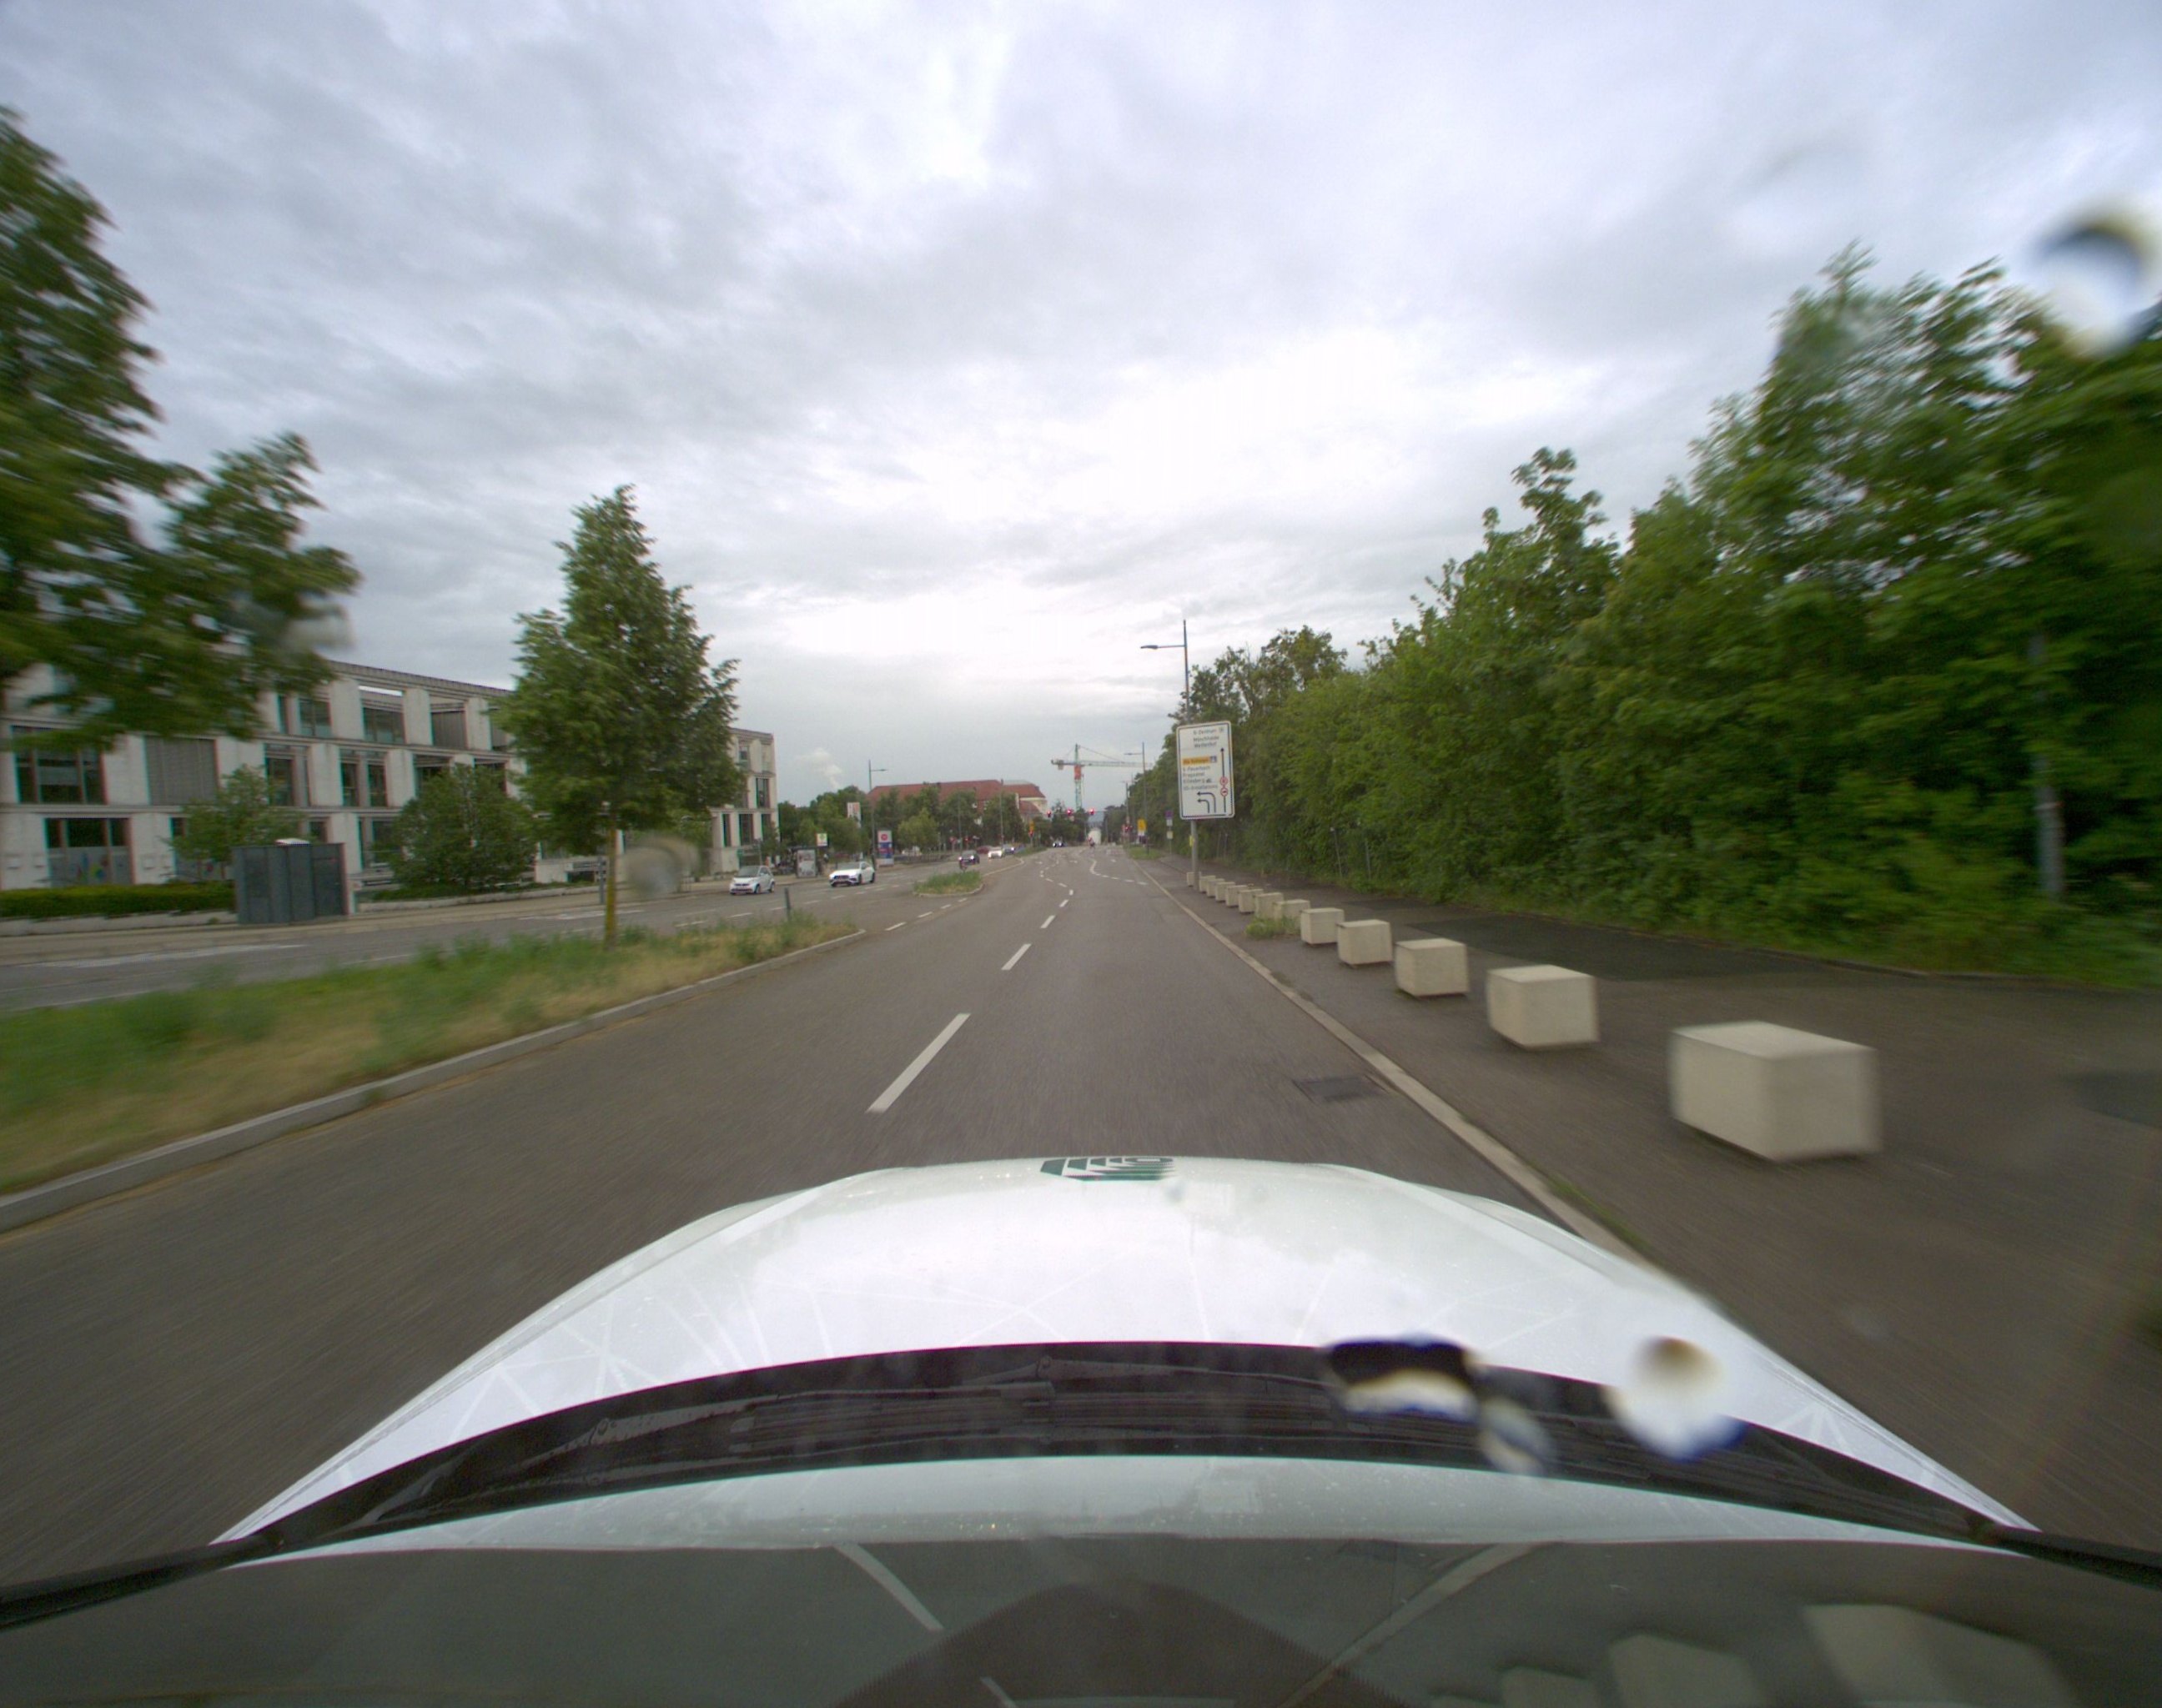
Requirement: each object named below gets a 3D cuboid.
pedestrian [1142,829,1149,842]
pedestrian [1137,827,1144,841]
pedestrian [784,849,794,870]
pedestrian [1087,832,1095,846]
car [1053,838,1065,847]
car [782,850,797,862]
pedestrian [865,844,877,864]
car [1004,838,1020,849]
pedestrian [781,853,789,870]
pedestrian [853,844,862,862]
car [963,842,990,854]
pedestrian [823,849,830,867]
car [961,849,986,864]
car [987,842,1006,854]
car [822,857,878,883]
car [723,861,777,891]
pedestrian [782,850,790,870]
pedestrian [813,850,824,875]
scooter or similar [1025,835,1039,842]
[{"bbox_3d":[8.401,-2.466,106.168,0.674,1.657,0.792,-3,1,-4],"label":"pedestrian"},{"bbox_3d":[8.059,-2.668,110.361,0.639,1.900,0.717,-3,1,-4],"label":"pedestrian"},{"bbox_3d":[-25.001,0.463,69.775,0.522,1.725,0.567,-2,1,4],"label":"pedestrian"},{"bbox_3d":[1.445,-2.261,123.498,0.935,2.013,0.849,-5,1,7],"label":"pedestrian"},{"bbox_3d":[-4.843,-2.499,178.951,1.981,1.838,4.011,-1,0,10],"label":"car"},{"bbox_3d":[-47.965,0.320,134.106,1.783,1.731,3.966,-3,1,-26],"label":"car"},{"bbox_3d":[-19.701,0.014,76.457,0.750,1.842,0.747,-2,1,4],"label":"pedestrian"},{"bbox_3d":[-10.625,-1.648,125.947,1.825,1.572,4.596,-5,0,2],"label":"car"},{"bbox_3d":[-25.580,0.650,70.459,0.424,1.451,0.510,-2,1,2],"label":"pedestrian"},{"bbox_3d":[-22.576,-0.083,82.197,0.596,1.762,0.858,-2,1,4],"label":"pedestrian"},{"bbox_3d":[-17.954,-1.064,139.847,3.951,1.916,2.012,-2,0,24],"label":"car"},{"bbox_3d":[-24.698,0.369,78.973,0.498,1.690,0.911,-3,1,-14],"label":"pedestrian"},{"bbox_3d":[-11.384,0.271,86.330,1.839,1.462,3.869,-4,0,2],"label":"car"},{"bbox_3d":[-11.249,-0.762,108.630,1.866,1.429,4.178,-5,0,2],"label":"car"},{"bbox_3d":[-14.386,0.949,51.019,1.986,1.418,4.515,-2,0,2],"label":"car"},{"bbox_3d":[-18.161,1.189,44.809,1.607,1.508,2.974,-1,0,2],"label":"car"},{"bbox_3d":[-25.805,0.482,71.239,0.424,1.725,0.621,-2,1,2],"label":"pedestrian"},{"bbox_3d":[-20.401,0.655,63.324,0.505,1.842,0.756,-2,1,1],"label":"pedestrian"},{"bbox_3d":[-11.001,-3.408,183.874,3.077,1.440,0.949,-3,1,0],"label":"scooter or similar"}]
